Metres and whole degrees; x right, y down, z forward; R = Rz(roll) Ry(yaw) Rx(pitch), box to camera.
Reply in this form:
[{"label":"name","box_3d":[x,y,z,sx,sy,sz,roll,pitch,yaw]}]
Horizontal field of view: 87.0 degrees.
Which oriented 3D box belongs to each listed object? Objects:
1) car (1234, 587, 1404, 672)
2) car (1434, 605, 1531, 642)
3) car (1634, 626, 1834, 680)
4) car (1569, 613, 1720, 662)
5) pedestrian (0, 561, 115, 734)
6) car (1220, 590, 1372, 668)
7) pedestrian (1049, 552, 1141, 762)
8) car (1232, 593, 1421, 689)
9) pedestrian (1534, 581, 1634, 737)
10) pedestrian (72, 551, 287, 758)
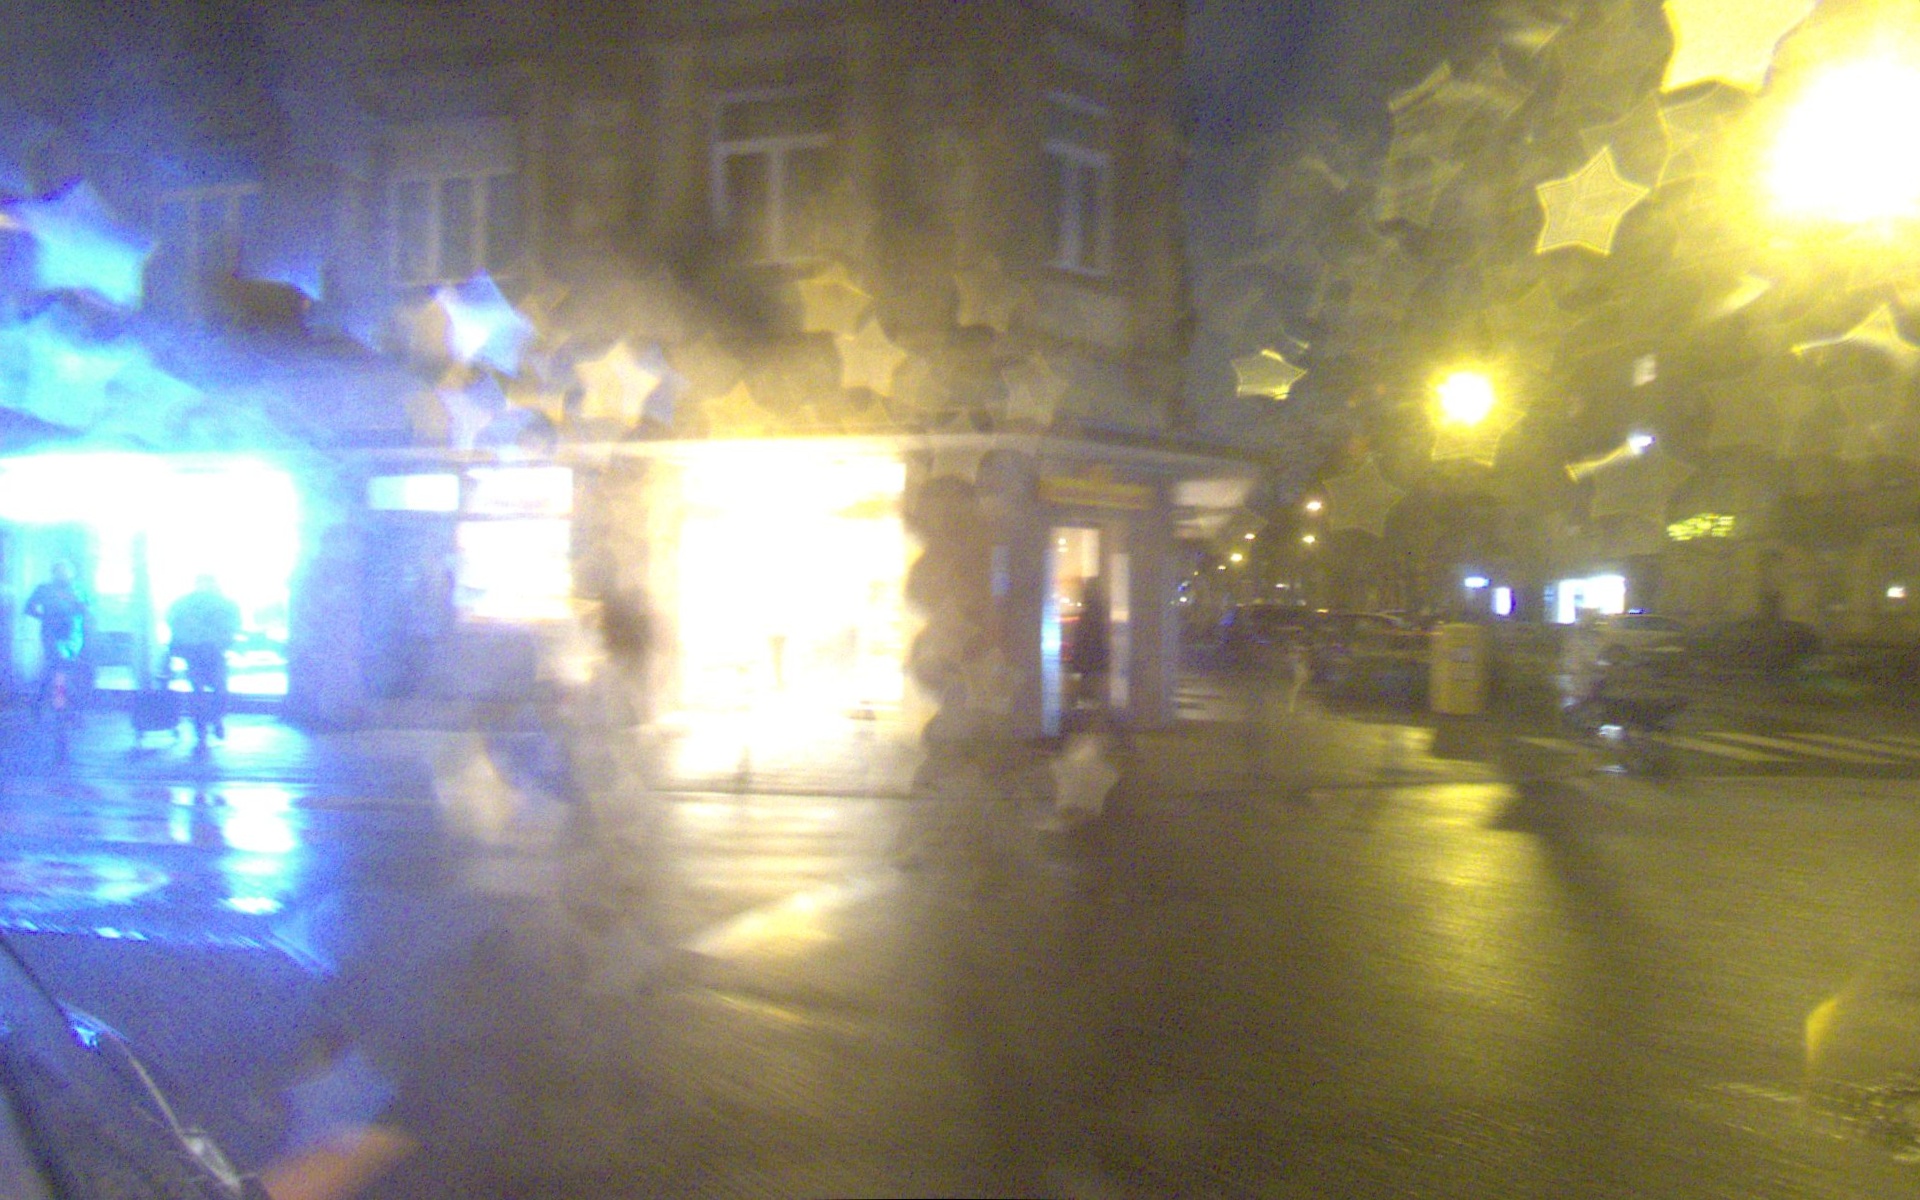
[{"label":"car","box_3d":[9.196,0.699,26.267,3.963,2.029,1.991,1,1,15]},{"label":"car","box_3d":[23.677,1.057,45.974,3.636,1.640,1.584,0,-2,14]},{"label":"car","box_3d":[19.615,1.329,25.811,3.683,1.285,1.584,0,-2,14]},{"label":"car","box_3d":[20.759,1.133,30.807,3.428,1.414,1.584,0,-2,14]},{"label":"pedestrian","box_3d":[-10.114,0.497,11.195,1.067,1.846,0.674,0,1,13]},{"label":"car","box_3d":[9.534,0.773,29.039,3.963,2.029,1.991,1,1,15]},{"label":"pedestrian","box_3d":[1.285,0.525,9.718,0.617,1.923,0.657,0,-1,-24]},{"label":"car","box_3d":[8.476,0.888,23.807,3.963,2.029,1.991,1,1,15]},{"label":"pedestrian","box_3d":[7.837,0.728,12.758,0.940,1.872,0.793,0,-3,24]},{"label":"pedestrian","box_3d":[-7.531,0.498,9.818,1.399,1.877,0.955,0,-1,10]}]
